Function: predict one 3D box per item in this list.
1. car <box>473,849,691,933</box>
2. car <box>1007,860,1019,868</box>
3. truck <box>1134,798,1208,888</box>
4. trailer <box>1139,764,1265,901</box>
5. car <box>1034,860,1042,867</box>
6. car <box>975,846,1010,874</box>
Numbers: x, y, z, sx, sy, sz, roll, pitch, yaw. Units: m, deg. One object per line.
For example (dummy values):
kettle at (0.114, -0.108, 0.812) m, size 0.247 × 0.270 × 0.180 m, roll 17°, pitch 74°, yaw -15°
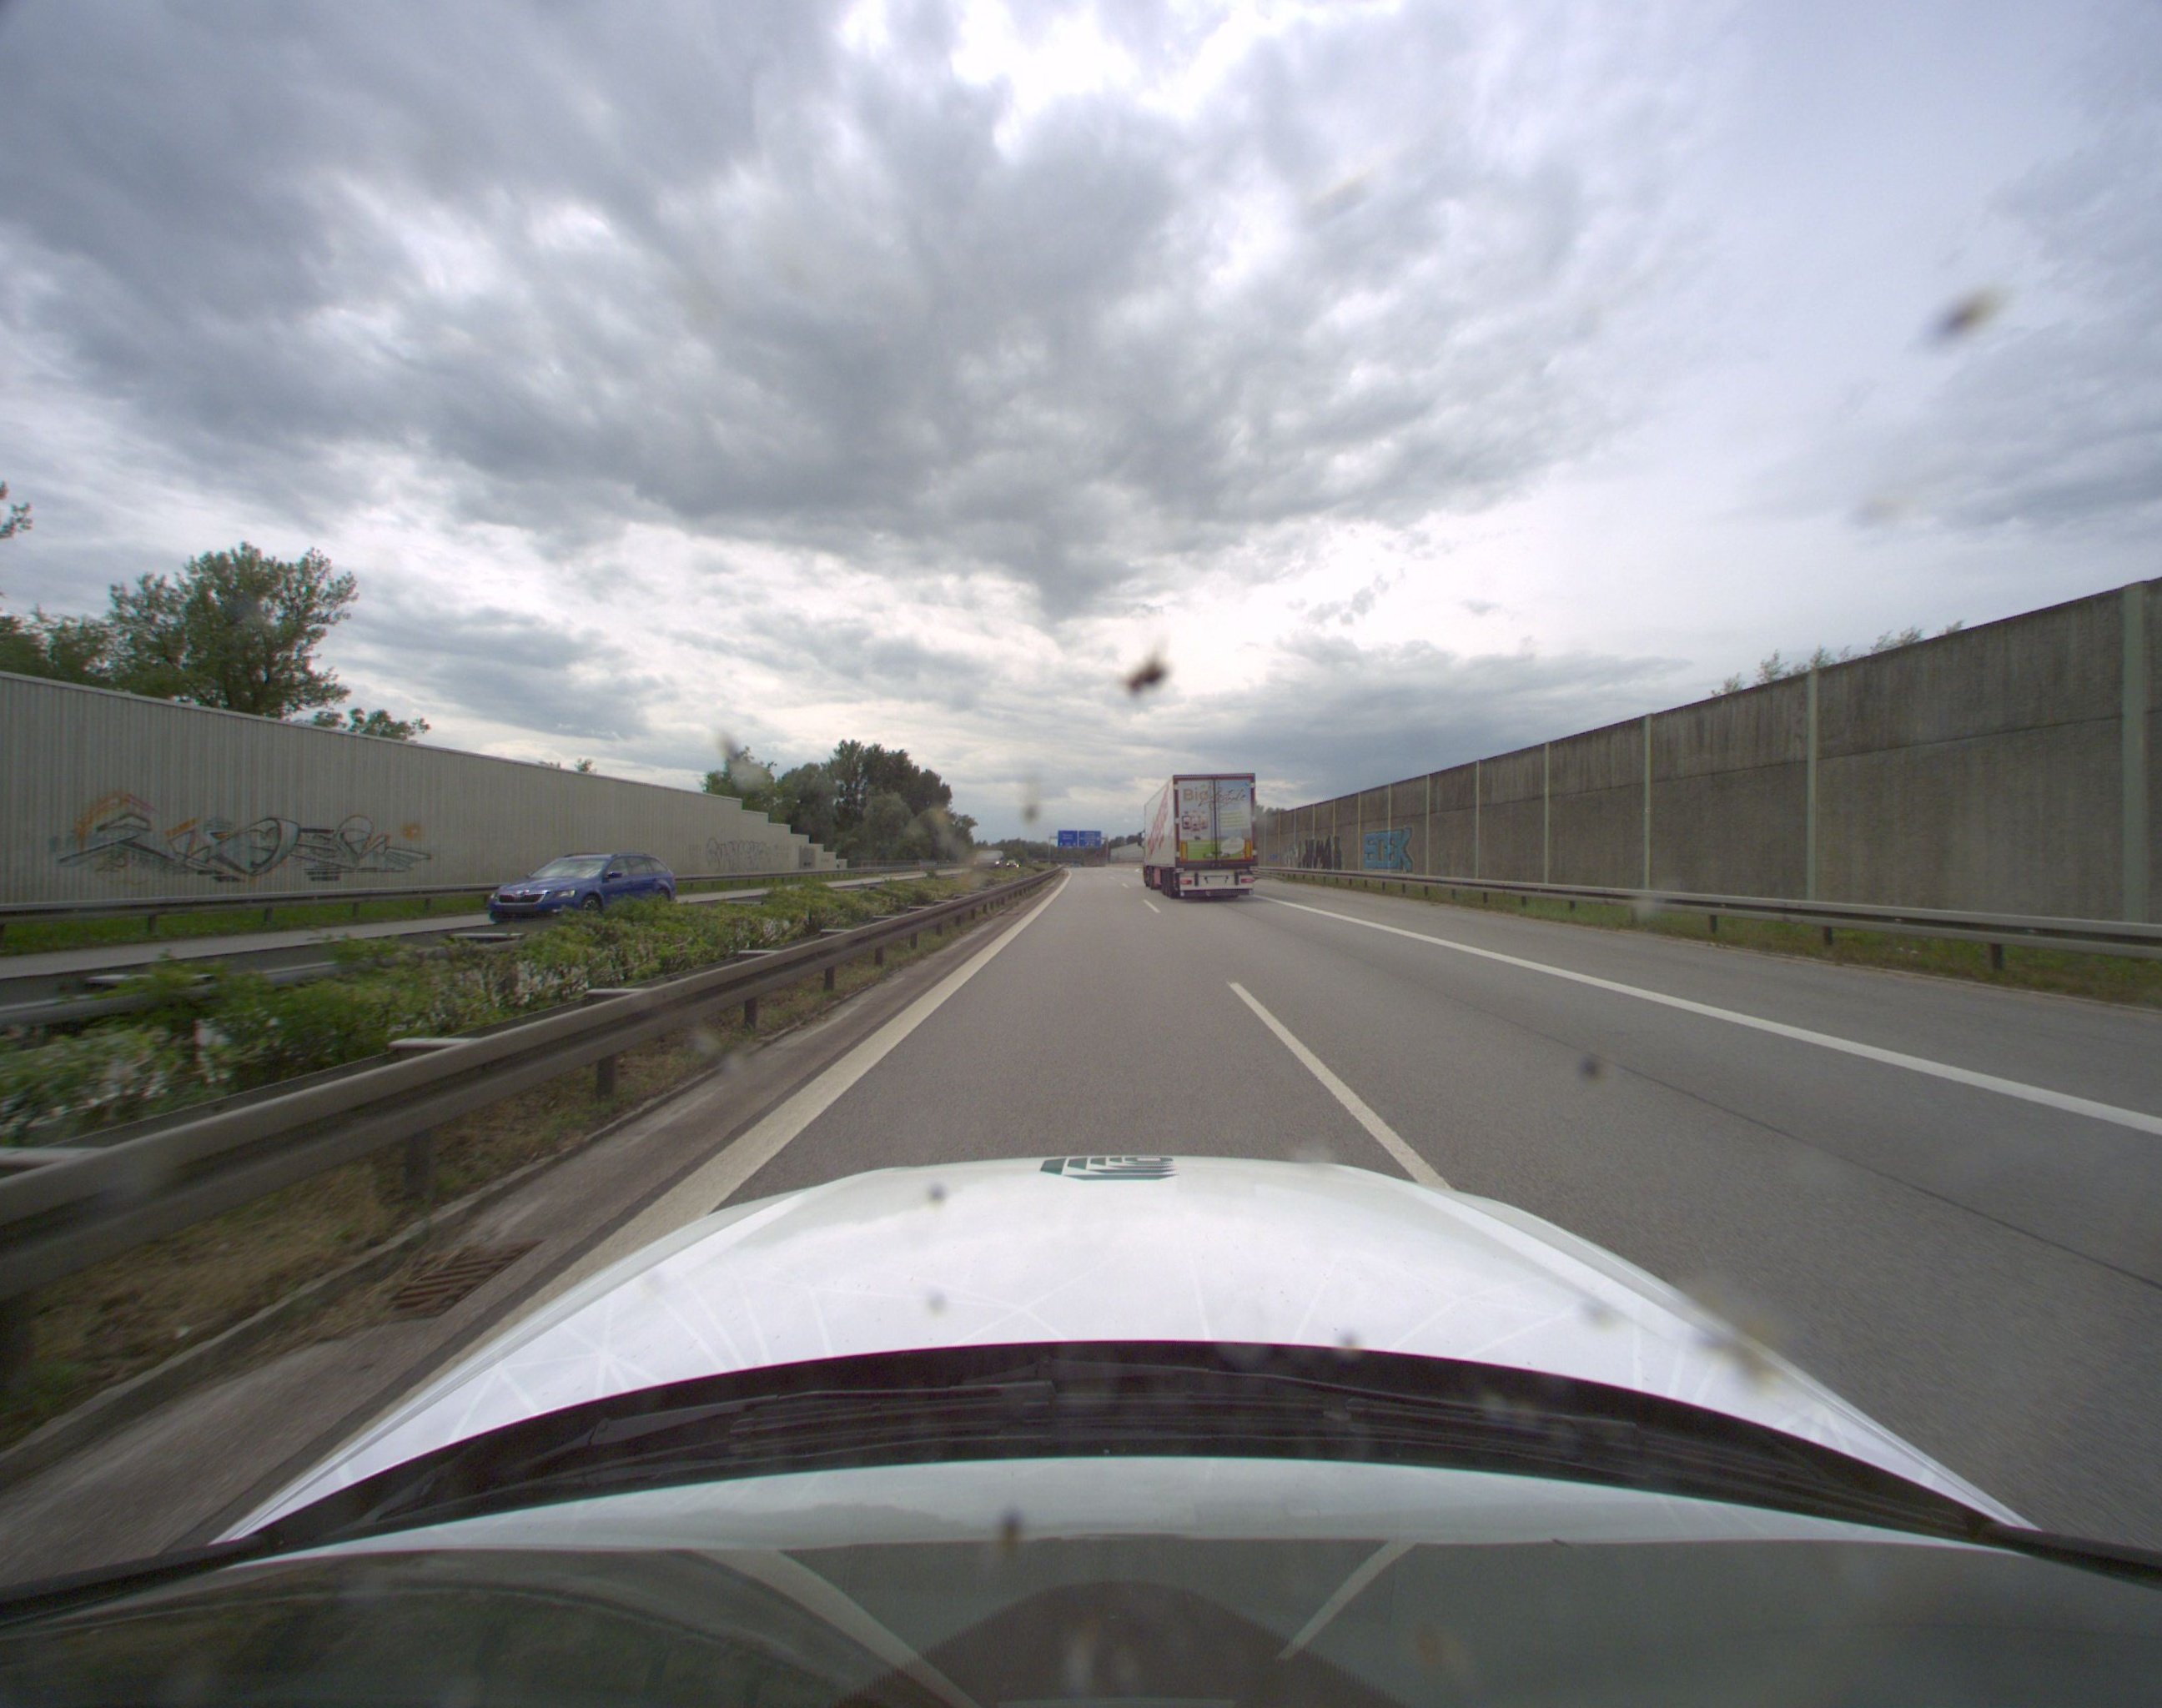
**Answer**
car at (-10.411, 0.695, 17.483) m, size 1.805 × 1.547 × 4.517 m, roll -1°, pitch 0°, yaw 1°
car at (-12.669, 1.804, 151.676) m, size 1.964 × 1.403 × 4.707 m, roll -2°, pitch 0°, yaw -1°
truck at (4.173, -0.486, 39.010) m, size 2.748 × 3.959 × 5.674 m, roll -1°, pitch 0°, yaw -1°
trailer at (4.239, -0.622, 32.191) m, size 2.784 × 4.175 × 14.100 m, roll -1°, pitch 0°, yaw 0°
car at (-10.136, 2.167, 192.275) m, size 1.836 × 1.531 × 4.832 m, roll -2°, pitch 0°, yaw -1°
car at (-6.236, 0.383, 57.895) m, size 1.987 × 1.886 × 4.555 m, roll -1°, pitch 0°, yaw 0°
